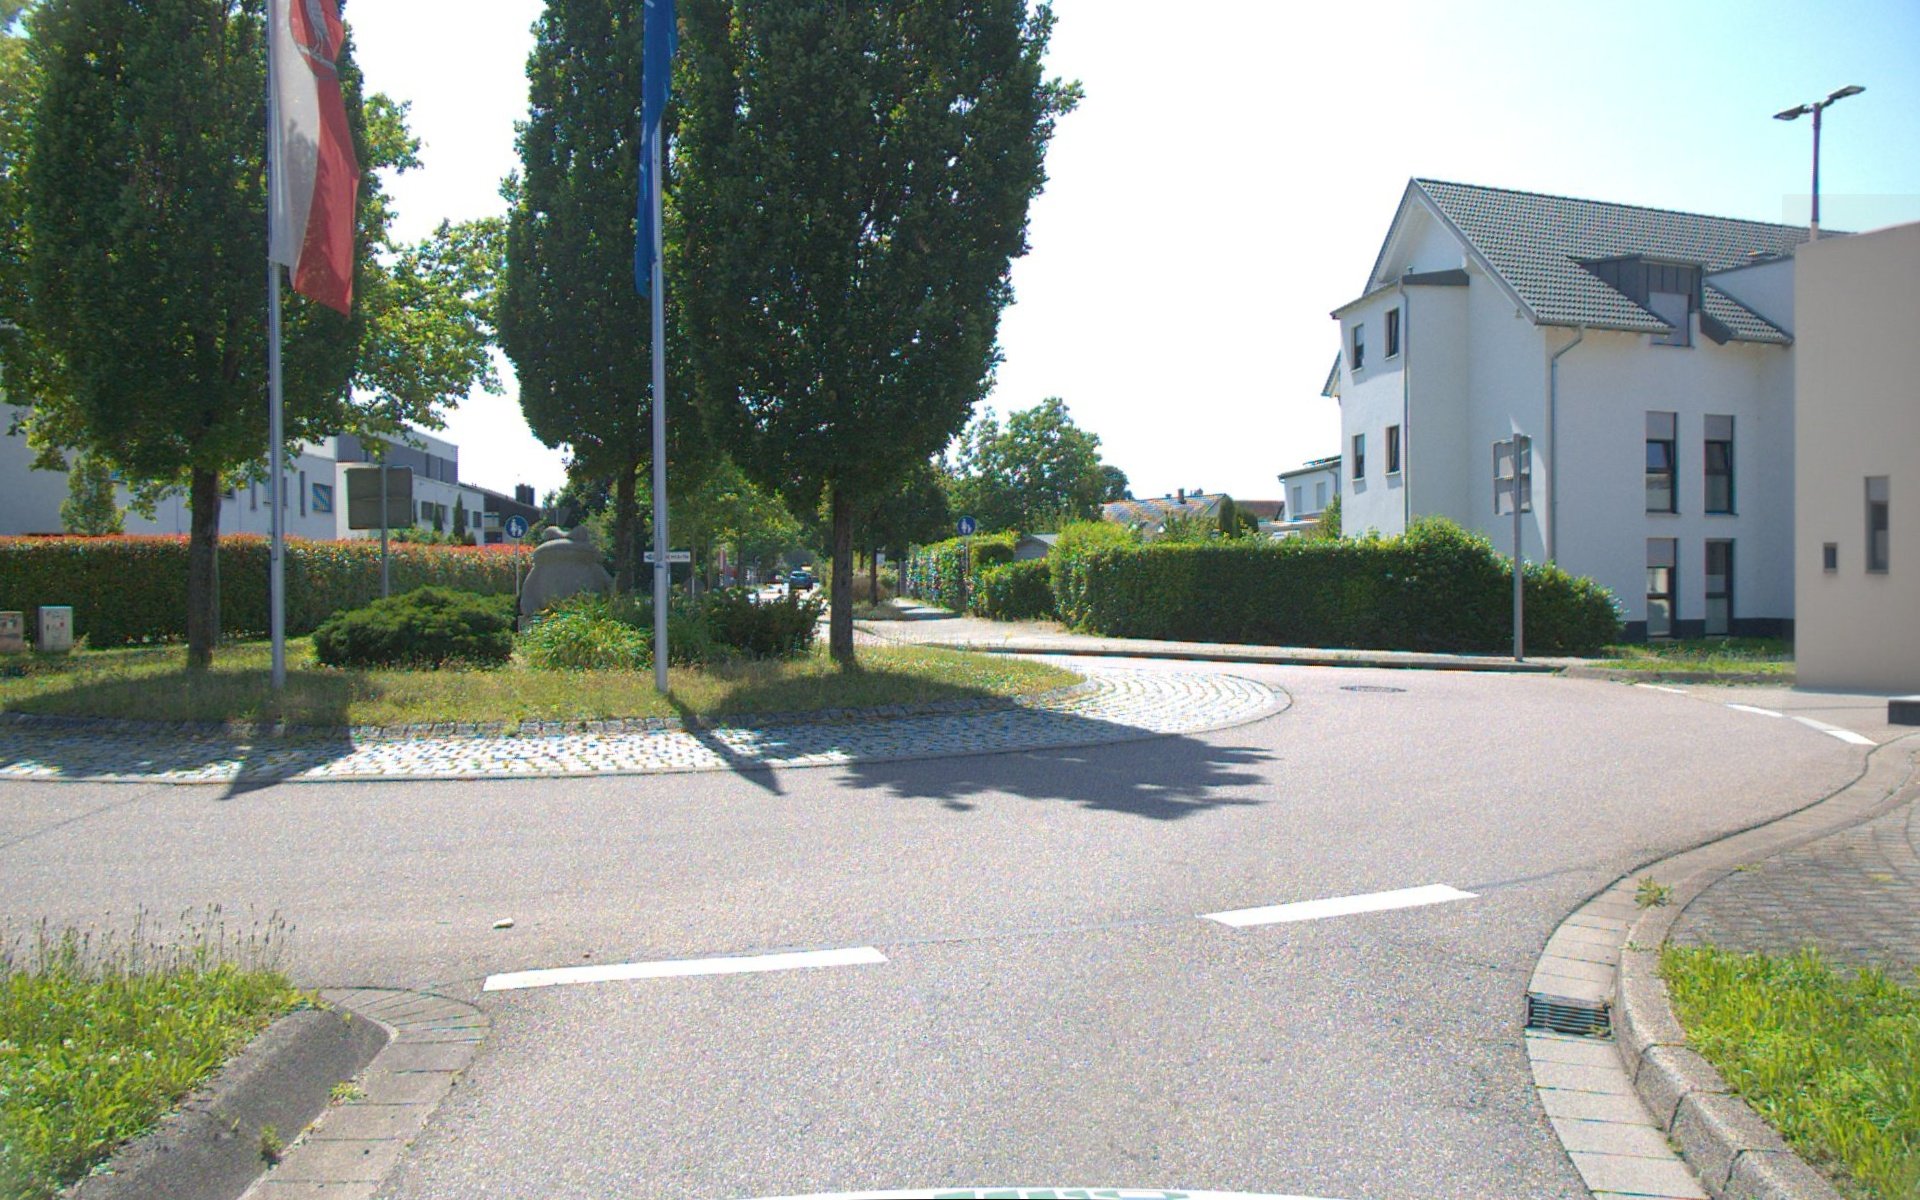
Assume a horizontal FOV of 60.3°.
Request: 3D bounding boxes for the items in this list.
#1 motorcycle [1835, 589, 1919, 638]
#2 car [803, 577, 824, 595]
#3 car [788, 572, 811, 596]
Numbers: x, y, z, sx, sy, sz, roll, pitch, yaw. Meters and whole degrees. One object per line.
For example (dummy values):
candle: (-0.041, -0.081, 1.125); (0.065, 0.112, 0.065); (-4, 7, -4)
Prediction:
motorcycle: (20.481, 0.281, 36.331); (0.660, 1.031, 2.353); (1, 0, -22)
car: (-14.700, -1.406, 166.207); (1.954, 1.801, 3.996); (1, 0, -4)
car: (-13.229, -1.306, 136.407); (1.886, 1.919, 3.995); (1, 0, -5)
